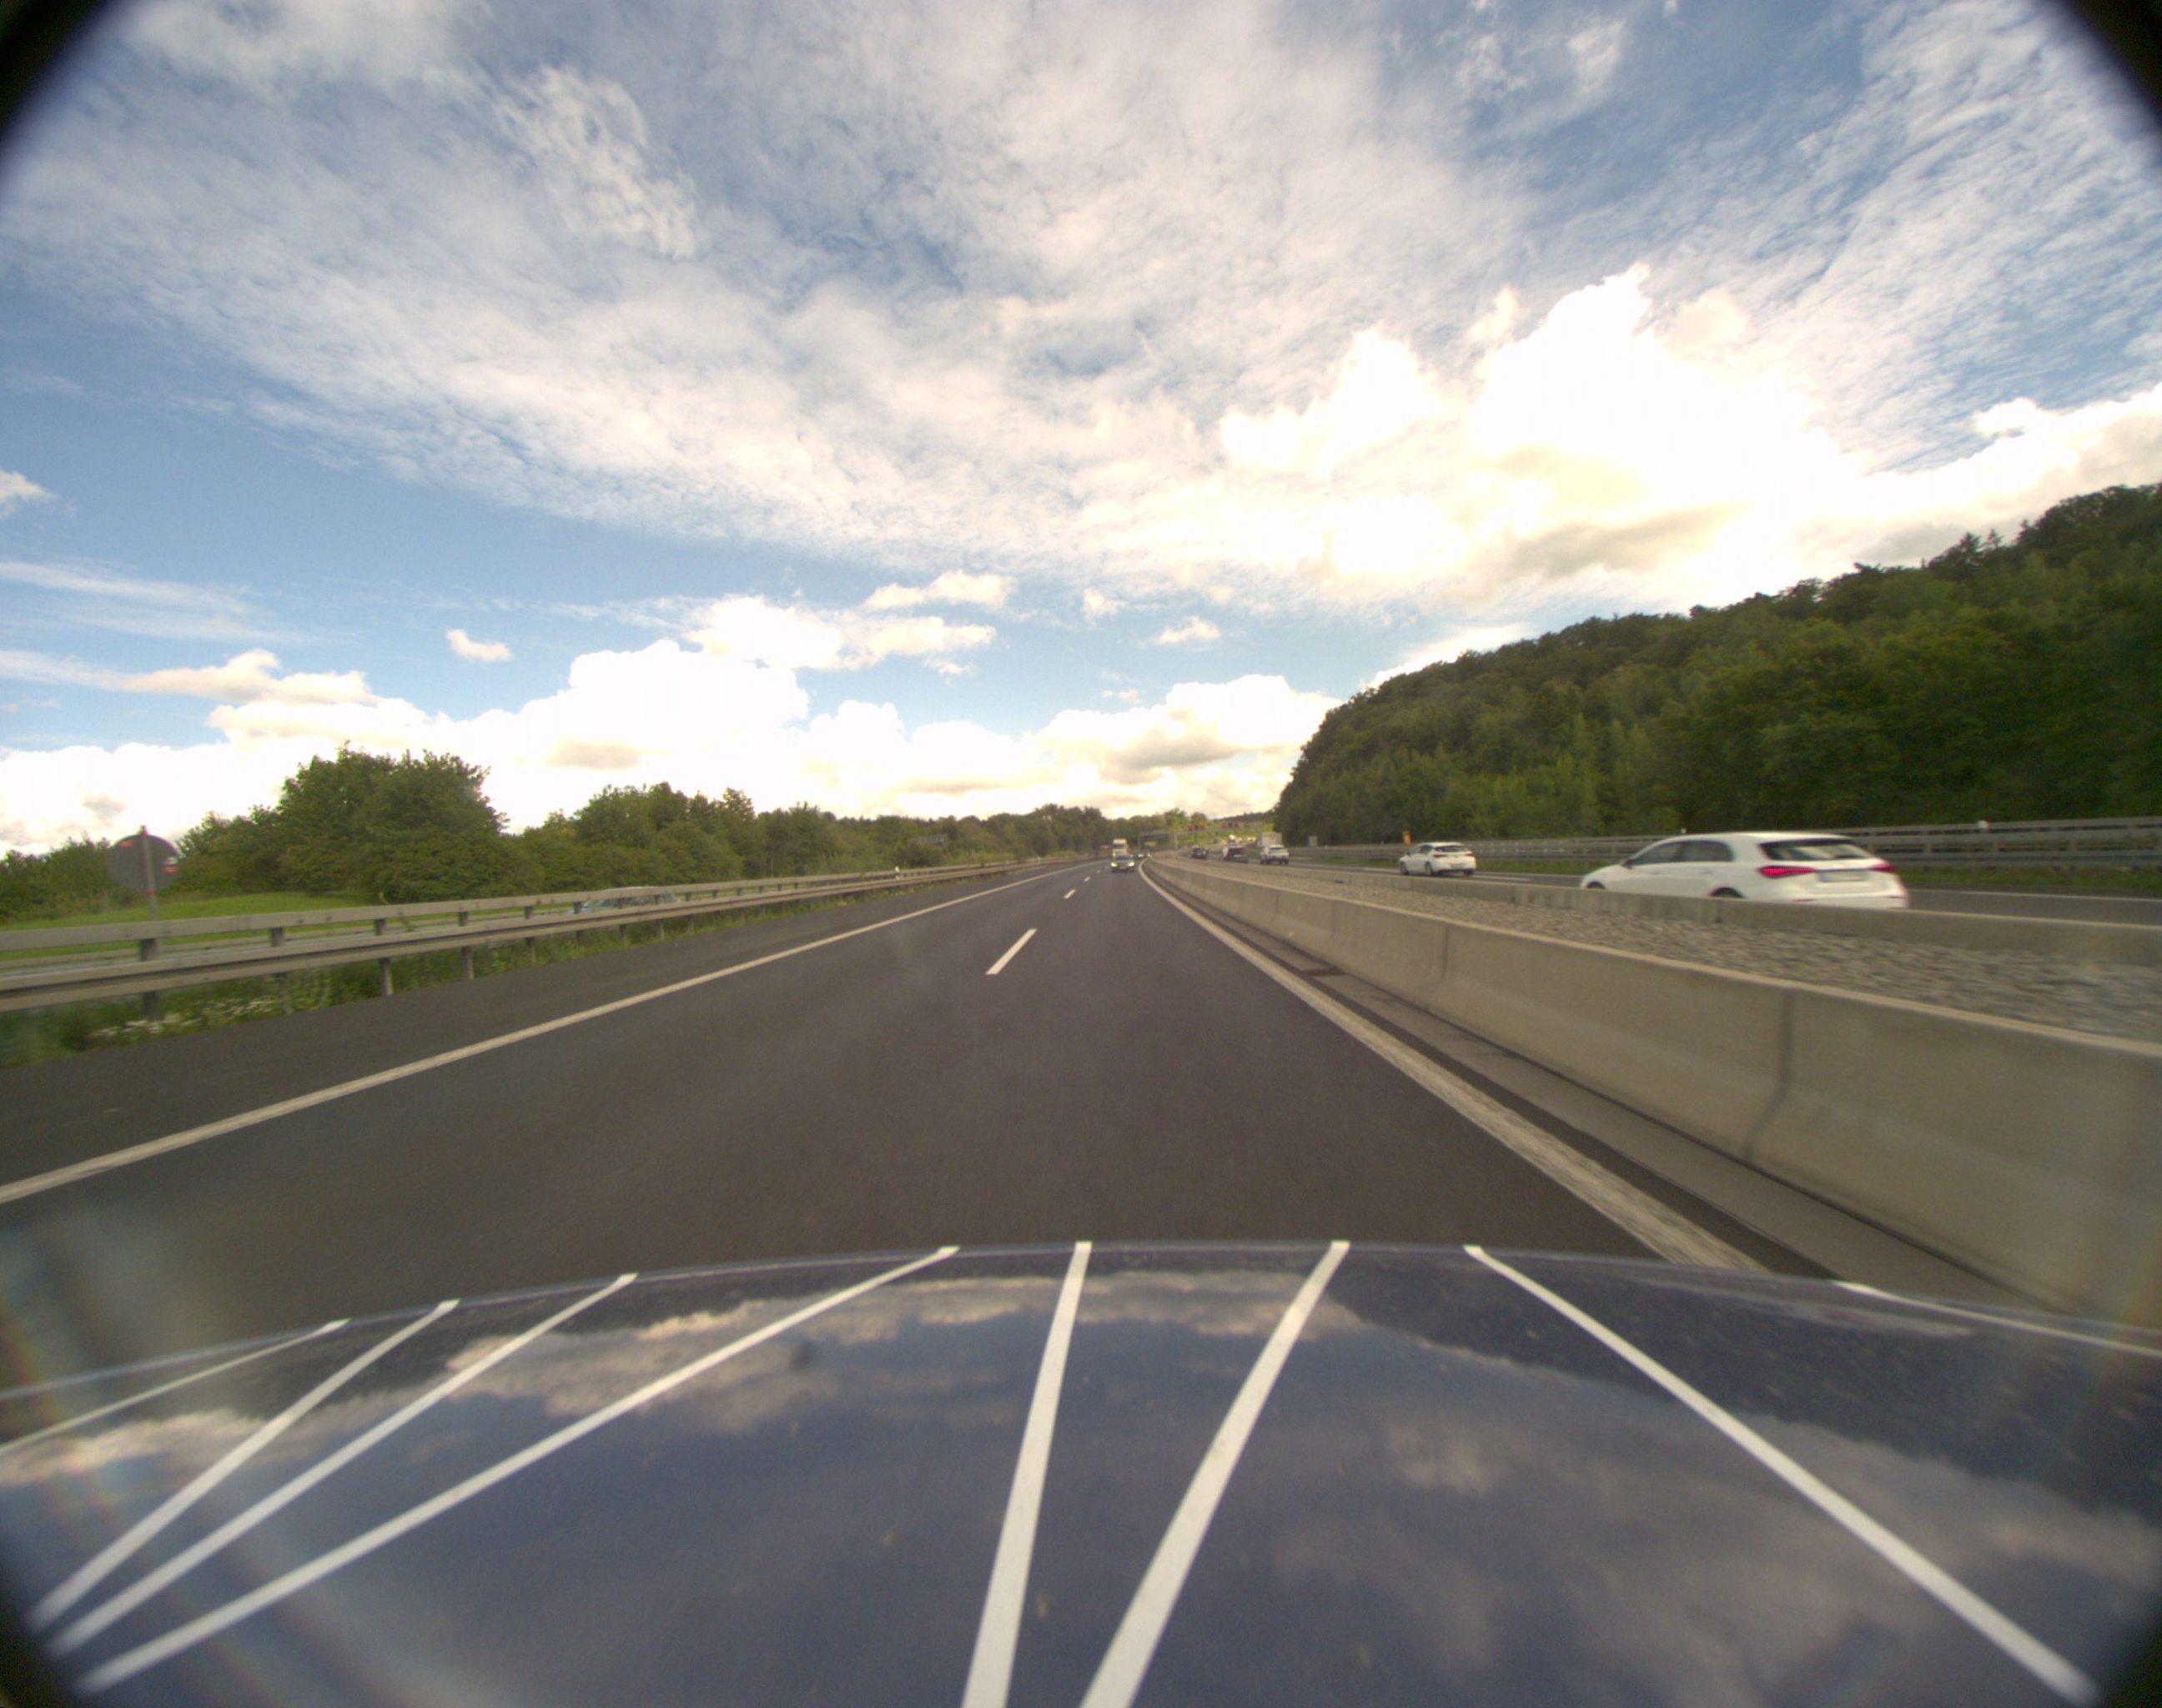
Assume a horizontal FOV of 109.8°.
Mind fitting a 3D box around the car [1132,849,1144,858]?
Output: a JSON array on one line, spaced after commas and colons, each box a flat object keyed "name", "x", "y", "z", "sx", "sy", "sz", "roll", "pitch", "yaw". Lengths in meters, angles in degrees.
[{"name": "car", "x": 10.099, "y": -0.156, "z": 135.080, "sx": 1.998, "sy": 1.464, "sz": 4.001, "roll": -2, "pitch": 0, "yaw": 6}]

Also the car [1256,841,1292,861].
[{"name": "car", "x": 16.600, "y": -0.263, "z": 65.558, "sx": 1.890, "sy": 1.600, "sz": 4.966, "roll": -2, "pitch": 0, "yaw": 1}]

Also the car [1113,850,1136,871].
[{"name": "car", "x": 3.581, "y": 0.505, "z": 62.387, "sx": 1.662, "sy": 1.464, "sz": 4.000, "roll": -3, "pitch": 1, "yaw": 5}]

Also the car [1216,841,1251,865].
[{"name": "car", "x": 12.124, "y": -0.125, "z": 60.653, "sx": 1.890, "sy": 1.774, "sz": 4.953, "roll": -2, "pitch": 0, "yaw": 2}]

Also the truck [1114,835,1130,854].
[{"name": "truck", "x": 8.434, "y": -1.961, "z": 156.224, "sx": 2.795, "sy": 3.563, "sz": 11.458, "roll": -2, "pitch": 2, "yaw": 5}]

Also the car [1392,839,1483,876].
[{"name": "car", "x": 15.210, "y": 0.124, "z": 32.716, "sx": 1.890, "sy": 1.421, "sz": 4.578, "roll": -2, "pitch": 0, "yaw": 2}]

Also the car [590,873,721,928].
[{"name": "car", "x": -14.862, "y": 1.570, "z": 26.895, "sx": 1.788, "sy": 1.510, "sz": 4.676, "roll": -3, "pitch": 1, "yaw": 3}]

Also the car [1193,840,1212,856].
[{"name": "car", "x": 14.395, "y": -0.728, "z": 90.155, "sx": 1.890, "sy": 1.693, "sz": 4.968, "roll": -2, "pitch": 0, "yaw": 6}]

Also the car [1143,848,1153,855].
[{"name": "car", "x": 14.729, "y": -0.504, "z": 167.413, "sx": 1.998, "sy": 1.464, "sz": 4.001, "roll": -3, "pitch": 1, "yaw": 6}]

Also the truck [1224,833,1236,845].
[{"name": "truck", "x": 47.556, "y": -4.823, "z": 242.520, "sx": 2.815, "sy": 3.804, "sz": 7.131, "roll": -3, "pitch": 1, "yaw": 6}]

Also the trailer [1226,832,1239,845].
[{"name": "trailer", "x": 46.827, "y": -4.724, "z": 235.667, "sx": 2.818, "sy": 3.785, "sz": 12.192, "roll": -3, "pitch": 1, "yaw": 6}]

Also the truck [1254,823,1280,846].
[{"name": "truck", "x": 35.254, "y": -3.754, "z": 144.253, "sx": 2.908, "sy": 3.946, "sz": 10.464, "roll": -2, "pitch": 2, "yaw": 5}]

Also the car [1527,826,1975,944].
[{"name": "car", "x": 9.575, "y": 0.354, "z": 11.796, "sx": 2.051, "sy": 1.329, "sz": 5.608, "roll": -2, "pitch": 0, "yaw": 1}]

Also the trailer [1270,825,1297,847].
[{"name": "trailer", "x": 41.973, "y": -3.749, "z": 157.681, "sx": 3.328, "sy": 4.268, "sz": 12.141, "roll": -2, "pitch": 2, "yaw": 6}]
